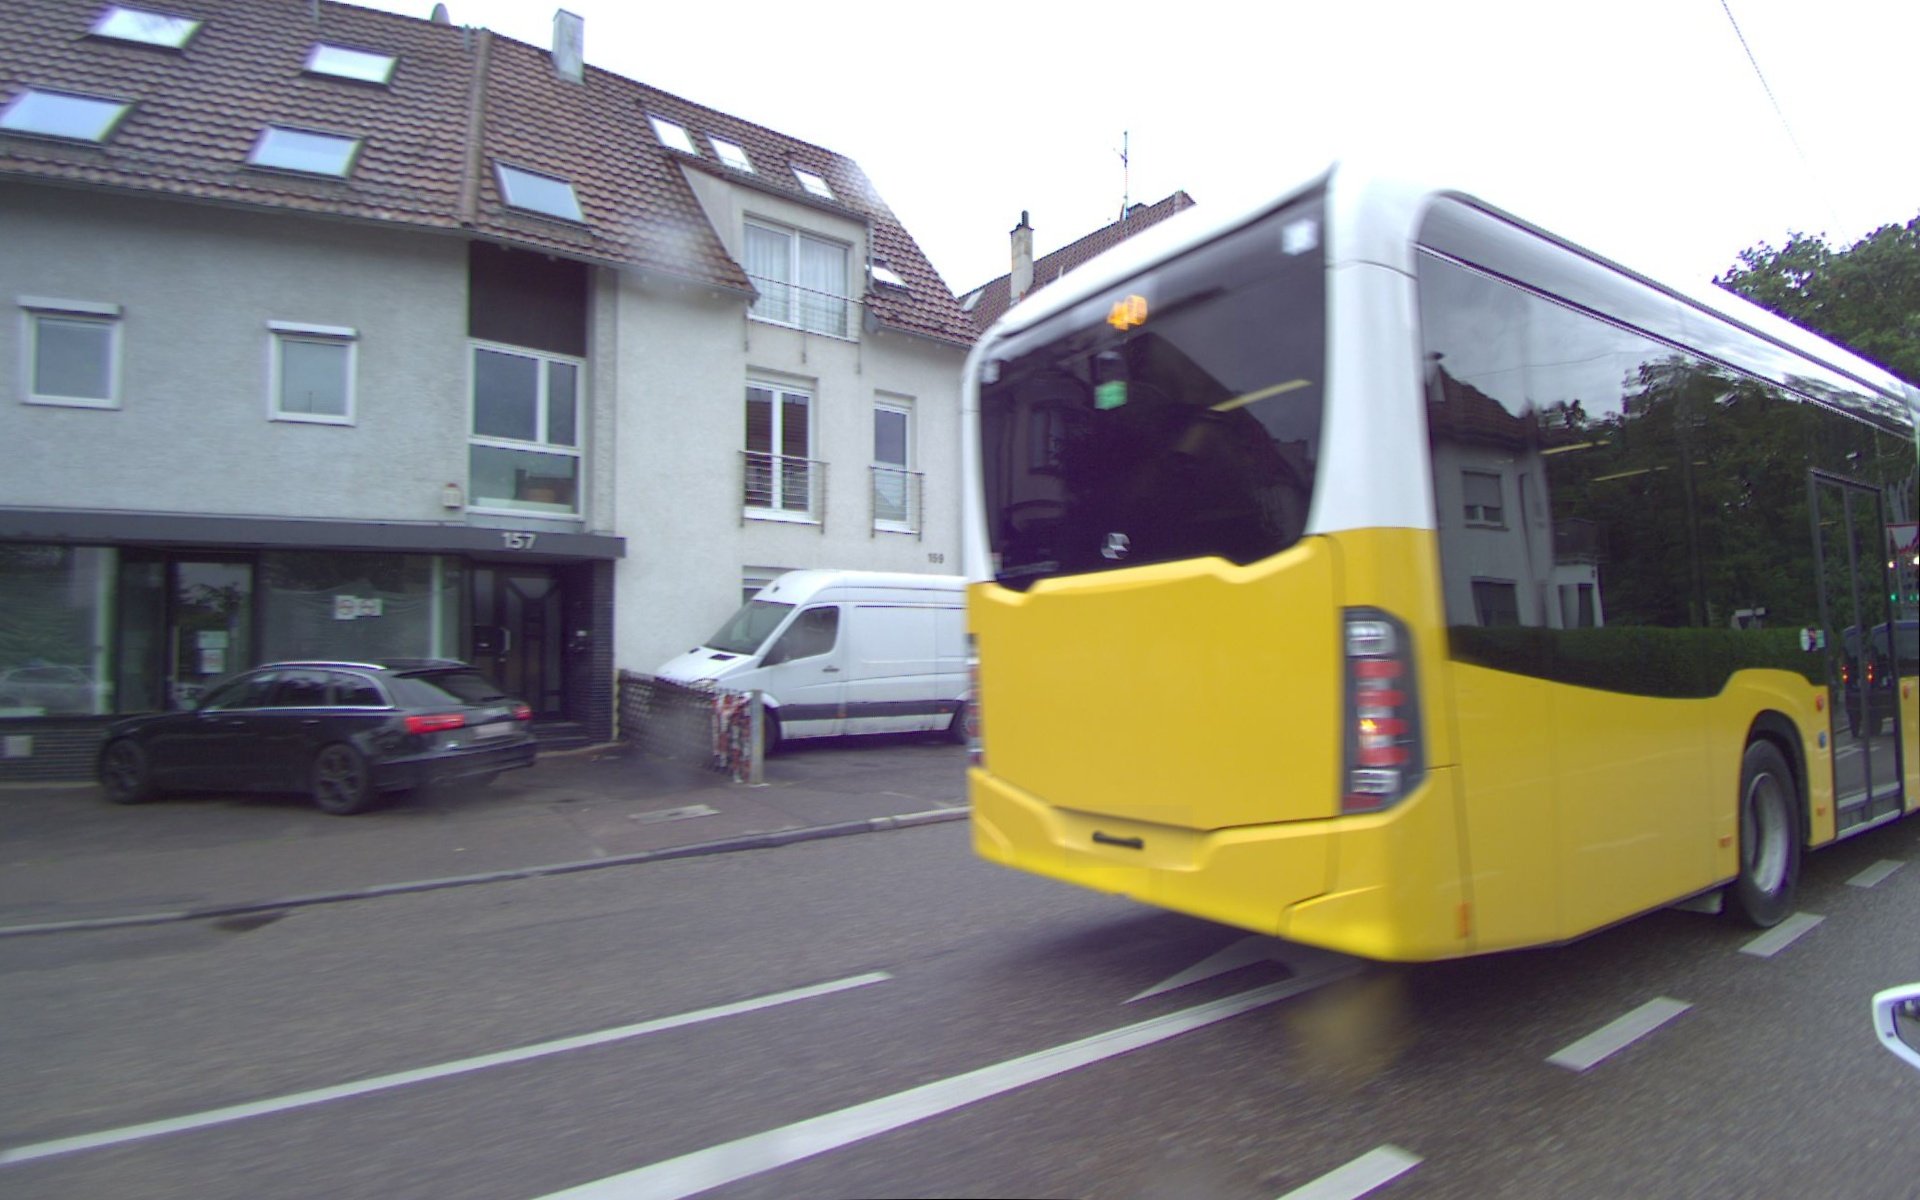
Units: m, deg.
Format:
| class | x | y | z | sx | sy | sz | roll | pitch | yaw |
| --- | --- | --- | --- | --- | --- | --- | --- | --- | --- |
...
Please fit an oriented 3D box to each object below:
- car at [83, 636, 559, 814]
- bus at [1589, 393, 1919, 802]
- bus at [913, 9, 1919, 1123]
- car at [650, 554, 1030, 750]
| class | x | y | z | sx | sy | sz | roll | pitch | yaw |
| --- | --- | --- | --- | --- | --- | --- | --- | --- | --- |
| car | -6.820 | 1.201 | 10.770 | 4.590 | 1.515 | 1.804 | 0 | 0 | 18 |
| bus | 10.990 | 0.089 | 12.064 | 8.959 | 3.443 | 2.878 | 1 | -3 | -38 |
| bus | 4.008 | -0.019 | 6.704 | 8.595 | 3.443 | 2.659 | 1 | -3 | -36 |
| car | -1.659 | 0.726 | 15.145 | 5.440 | 2.480 | 1.980 | 1 | -1 | -36 |
